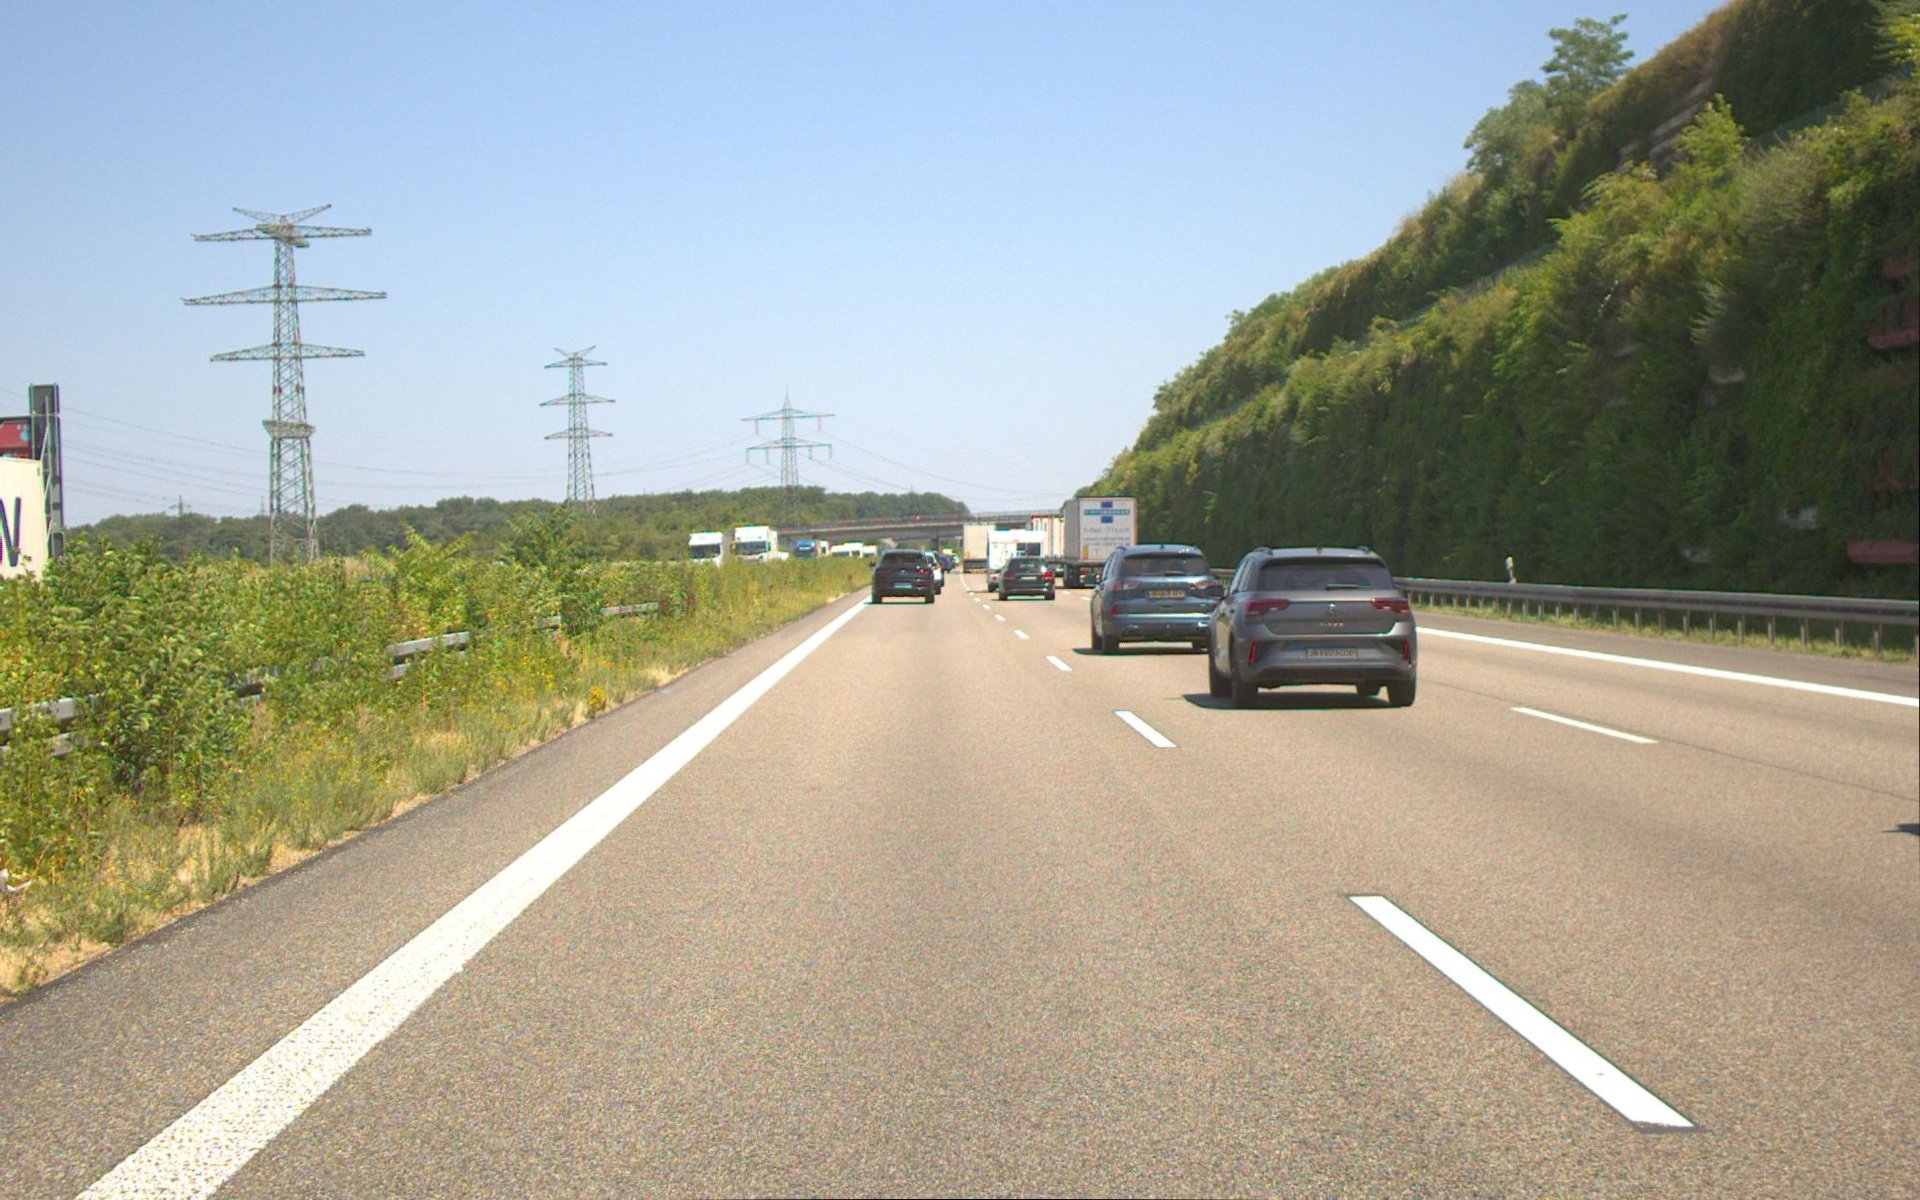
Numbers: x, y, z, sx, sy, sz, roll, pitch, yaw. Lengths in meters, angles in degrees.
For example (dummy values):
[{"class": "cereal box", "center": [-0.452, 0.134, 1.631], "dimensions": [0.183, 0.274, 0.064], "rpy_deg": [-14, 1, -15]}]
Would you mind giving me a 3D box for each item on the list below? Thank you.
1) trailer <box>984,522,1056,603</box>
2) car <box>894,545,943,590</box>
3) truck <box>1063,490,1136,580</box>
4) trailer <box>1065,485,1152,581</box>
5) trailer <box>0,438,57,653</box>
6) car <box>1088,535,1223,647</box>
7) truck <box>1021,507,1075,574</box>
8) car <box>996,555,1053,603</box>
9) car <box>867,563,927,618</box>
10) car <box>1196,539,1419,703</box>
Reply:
[{"class": "trailer", "center": [2.445, -1.569, 143.008], "dimensions": [2.610, 3.202, 9.953], "rpy_deg": [-1, 1, -1]}, {"class": "car", "center": [-1.617, -1.275, 133.849], "dimensions": [1.830, 1.665, 4.000], "rpy_deg": [-2, 1, -1]}, {"class": "truck", "center": [6.566, -3.047, 162.387], "dimensions": [3.136, 4.127, 5.504], "rpy_deg": [-1, 1, 0]}, {"class": "trailer", "center": [6.626, -2.992, 155.442], "dimensions": [3.183, 4.107, 13.432], "rpy_deg": [-1, 1, 0]}, {"class": "trailer", "center": [-18.332, -0.867, 56.678], "dimensions": [2.854, 3.809, 15.980], "rpy_deg": [-2, 1, -1]}, {"class": "car", "center": [2.968, -0.163, 52.856], "dimensions": [1.794, 1.647, 4.138], "rpy_deg": [-1, 1, 0]}, {"class": "truck", "center": [5.766, -3.928, 227.573], "dimensions": [3.119, 4.265, 11.934], "rpy_deg": [-1, 1, 0]}, {"class": "car", "center": [2.162, -0.721, 116.113], "dimensions": [1.830, 1.520, 4.000], "rpy_deg": [-2, 1, 0]}, {"class": "car", "center": [-2.009, -0.330, 110.180], "dimensions": [1.830, 1.665, 4.000], "rpy_deg": [-2, 1, -1]}, {"class": "car", "center": [3.426, 0.173, 34.551], "dimensions": [1.749, 1.520, 3.995], "rpy_deg": [-1, 1, -1]}]
